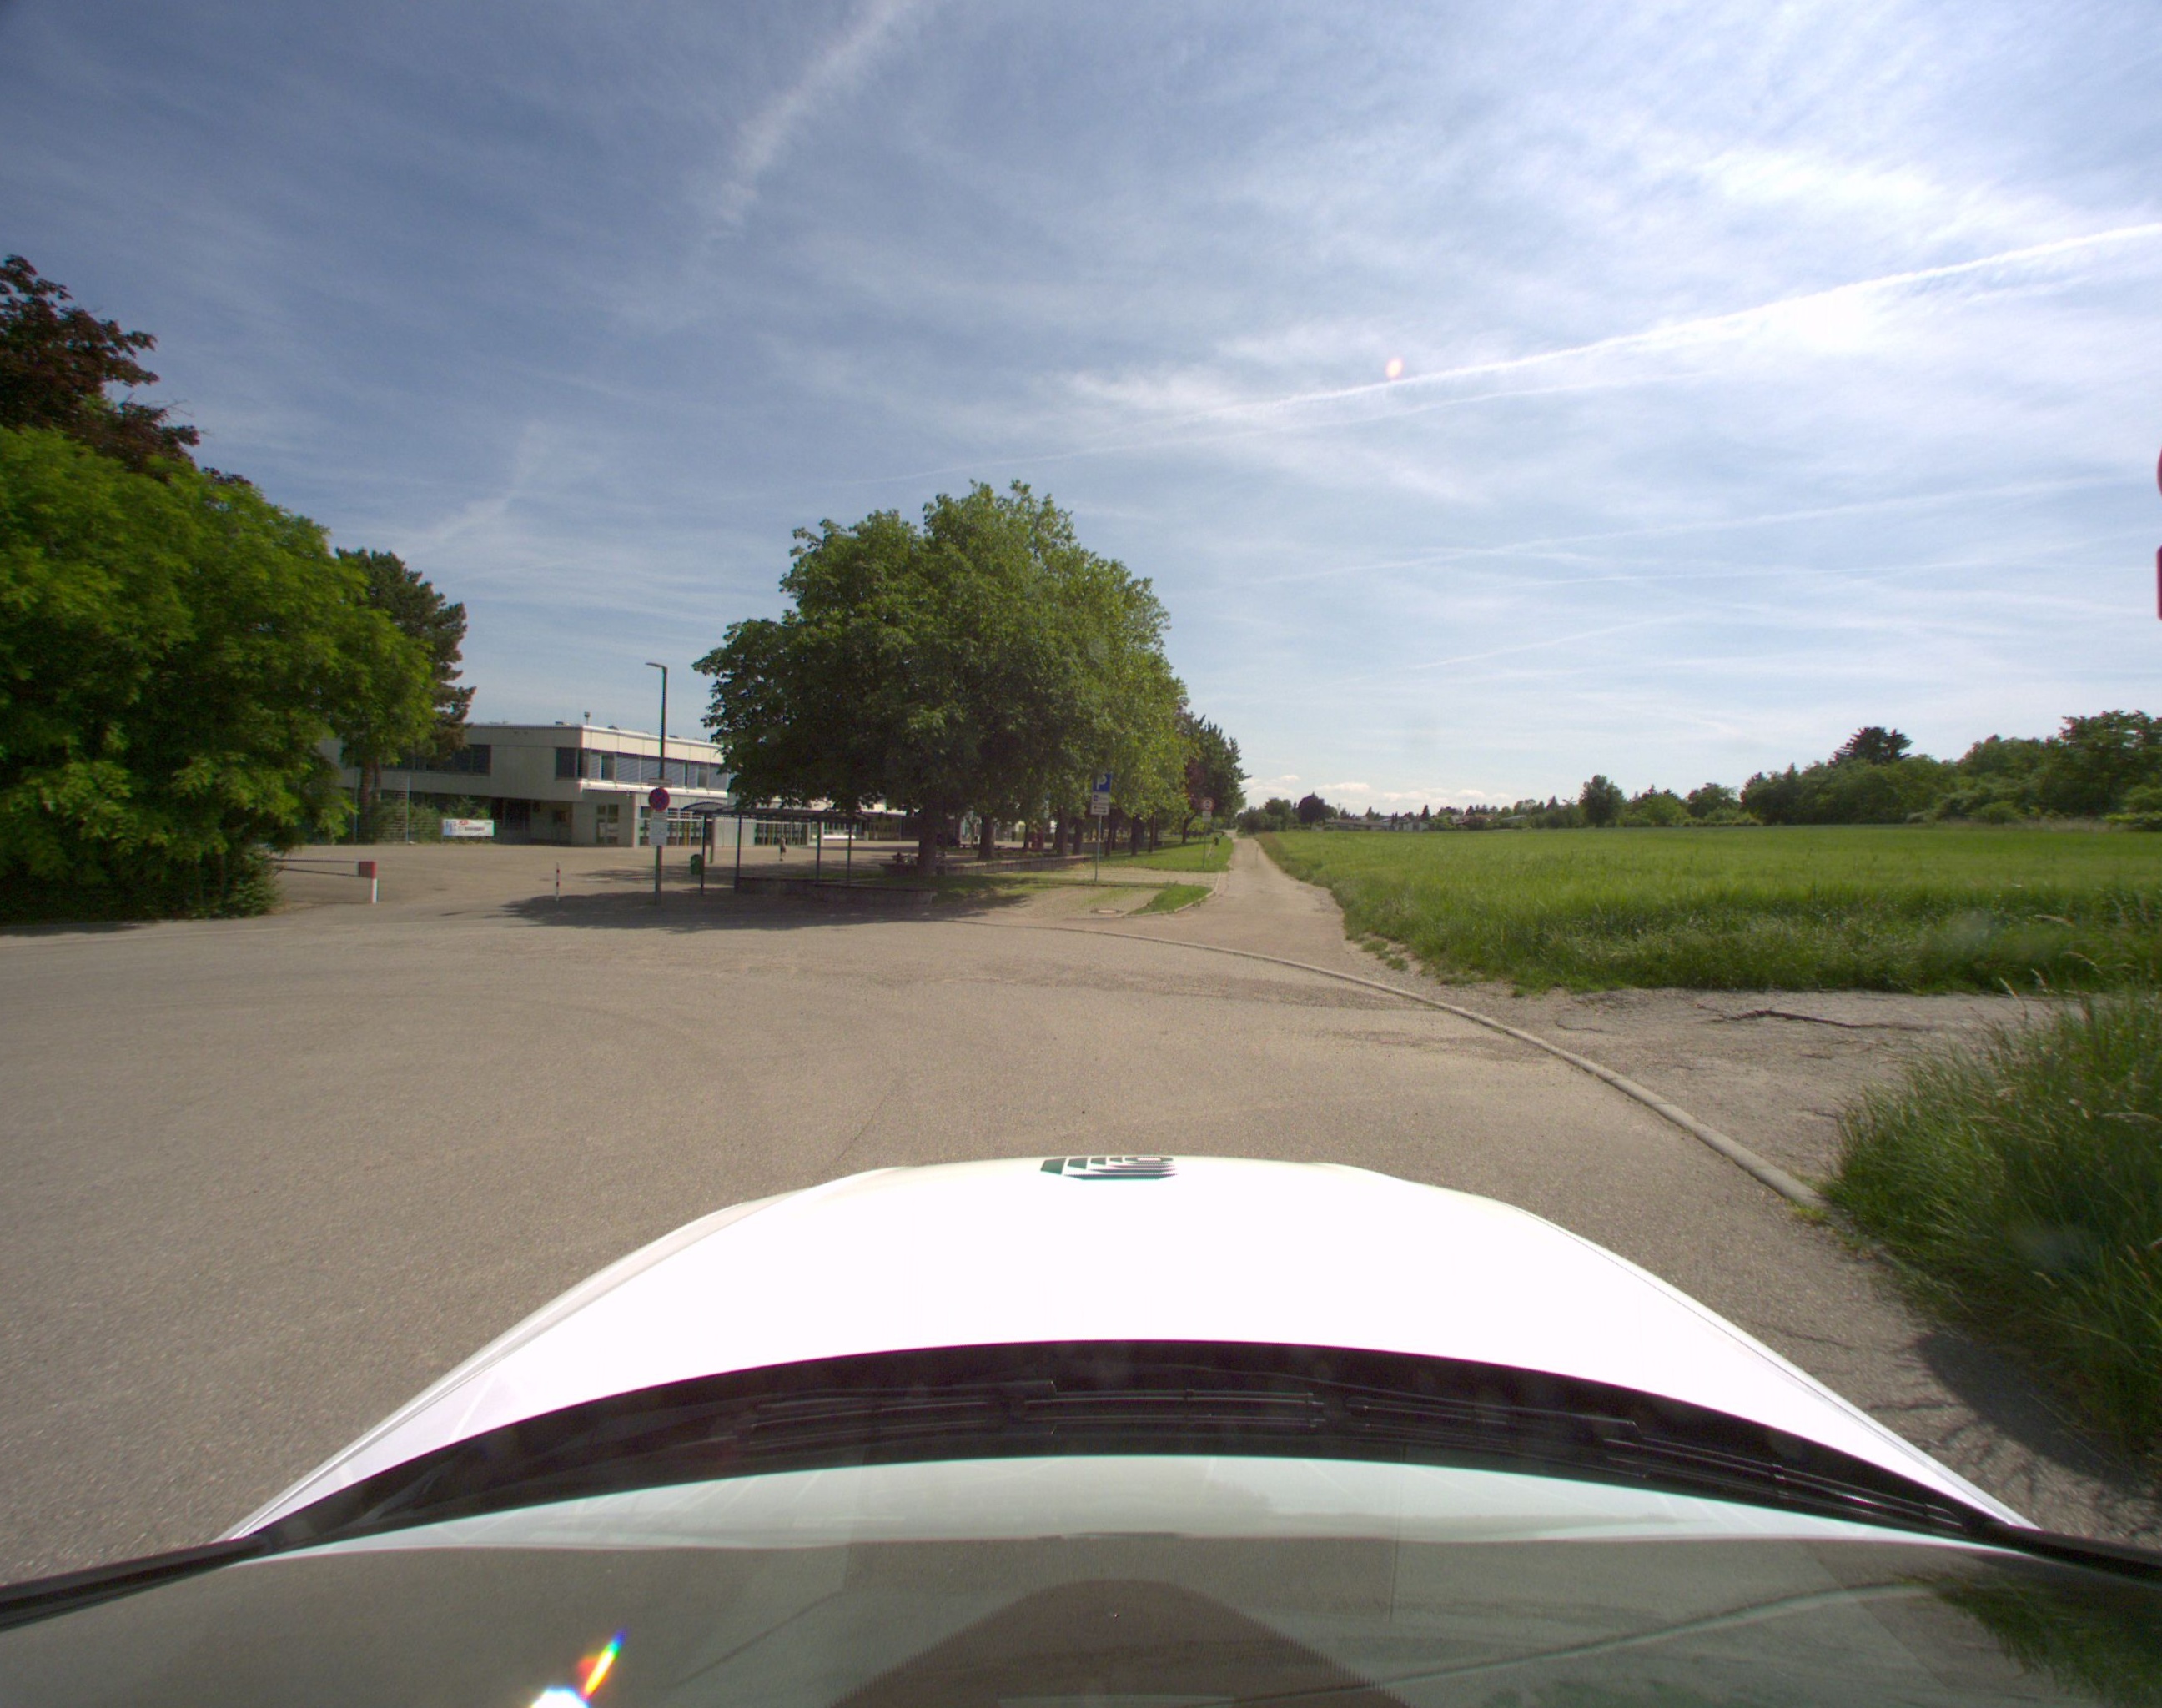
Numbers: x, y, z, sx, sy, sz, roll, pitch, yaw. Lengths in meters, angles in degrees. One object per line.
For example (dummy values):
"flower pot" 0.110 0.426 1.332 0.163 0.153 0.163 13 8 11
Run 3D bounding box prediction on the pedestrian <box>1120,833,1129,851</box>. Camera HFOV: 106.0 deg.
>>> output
"pedestrian" 5.102 -1.402 95.551 0.685 2.013 0.797 2 1 -23

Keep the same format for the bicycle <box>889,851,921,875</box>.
"bicycle" -8.161 0.397 37.813 0.590 1.039 1.901 1 1 17

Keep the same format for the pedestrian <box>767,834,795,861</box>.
"pedestrian" -16.257 -0.352 44.112 0.909 1.423 1.075 2 1 20

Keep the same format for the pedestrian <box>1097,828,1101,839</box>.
"pedestrian" 3.508 -4.032 160.440 0.718 2.013 0.685 -1 0 12

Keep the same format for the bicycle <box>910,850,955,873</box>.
"bicycle" -7.233 0.361 39.705 2.054 1.039 0.572 1 1 1

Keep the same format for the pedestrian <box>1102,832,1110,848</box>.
"pedestrian" 3.174 -1.837 104.210 0.831 2.013 0.690 2 1 -7

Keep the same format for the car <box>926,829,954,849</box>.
"car" -13.512 -1.399 78.120 1.682 1.834 3.418 2 1 7
